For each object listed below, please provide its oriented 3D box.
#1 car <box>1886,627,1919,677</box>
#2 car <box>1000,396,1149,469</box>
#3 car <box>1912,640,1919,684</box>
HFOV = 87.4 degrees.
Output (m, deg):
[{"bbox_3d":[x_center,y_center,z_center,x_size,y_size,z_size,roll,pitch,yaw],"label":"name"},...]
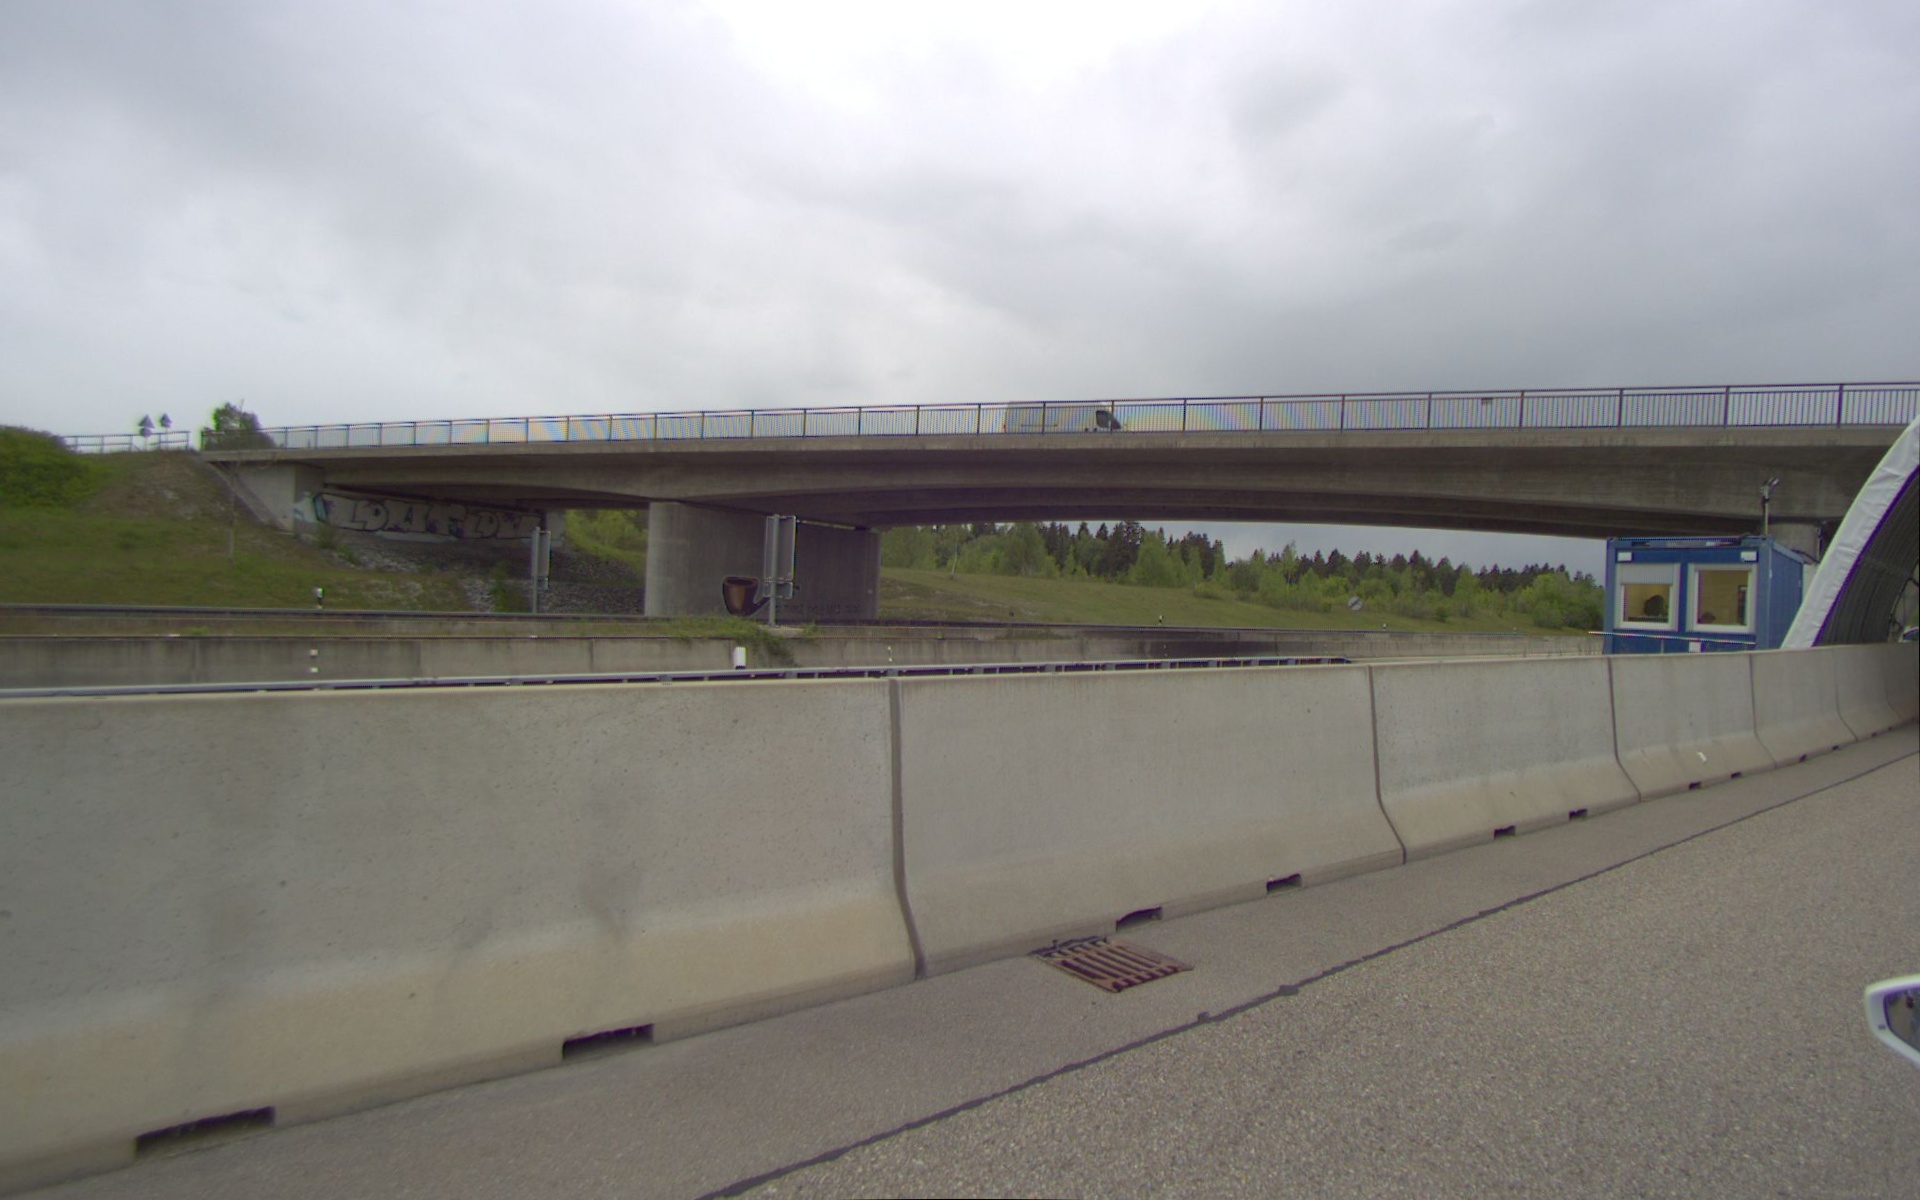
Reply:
[{"bbox_3d":[37.366,1.963,37.382,1.686,1.878,3.976,2,-1,-24],"label":"car"},{"bbox_3d":[4.615,-6.724,40.799,5.643,2.281,1.999,1,-1,24],"label":"car"},{"bbox_3d":[32.214,2.053,32.141,1.491,1.461,3.314,1,-1,24],"label":"car"}]
